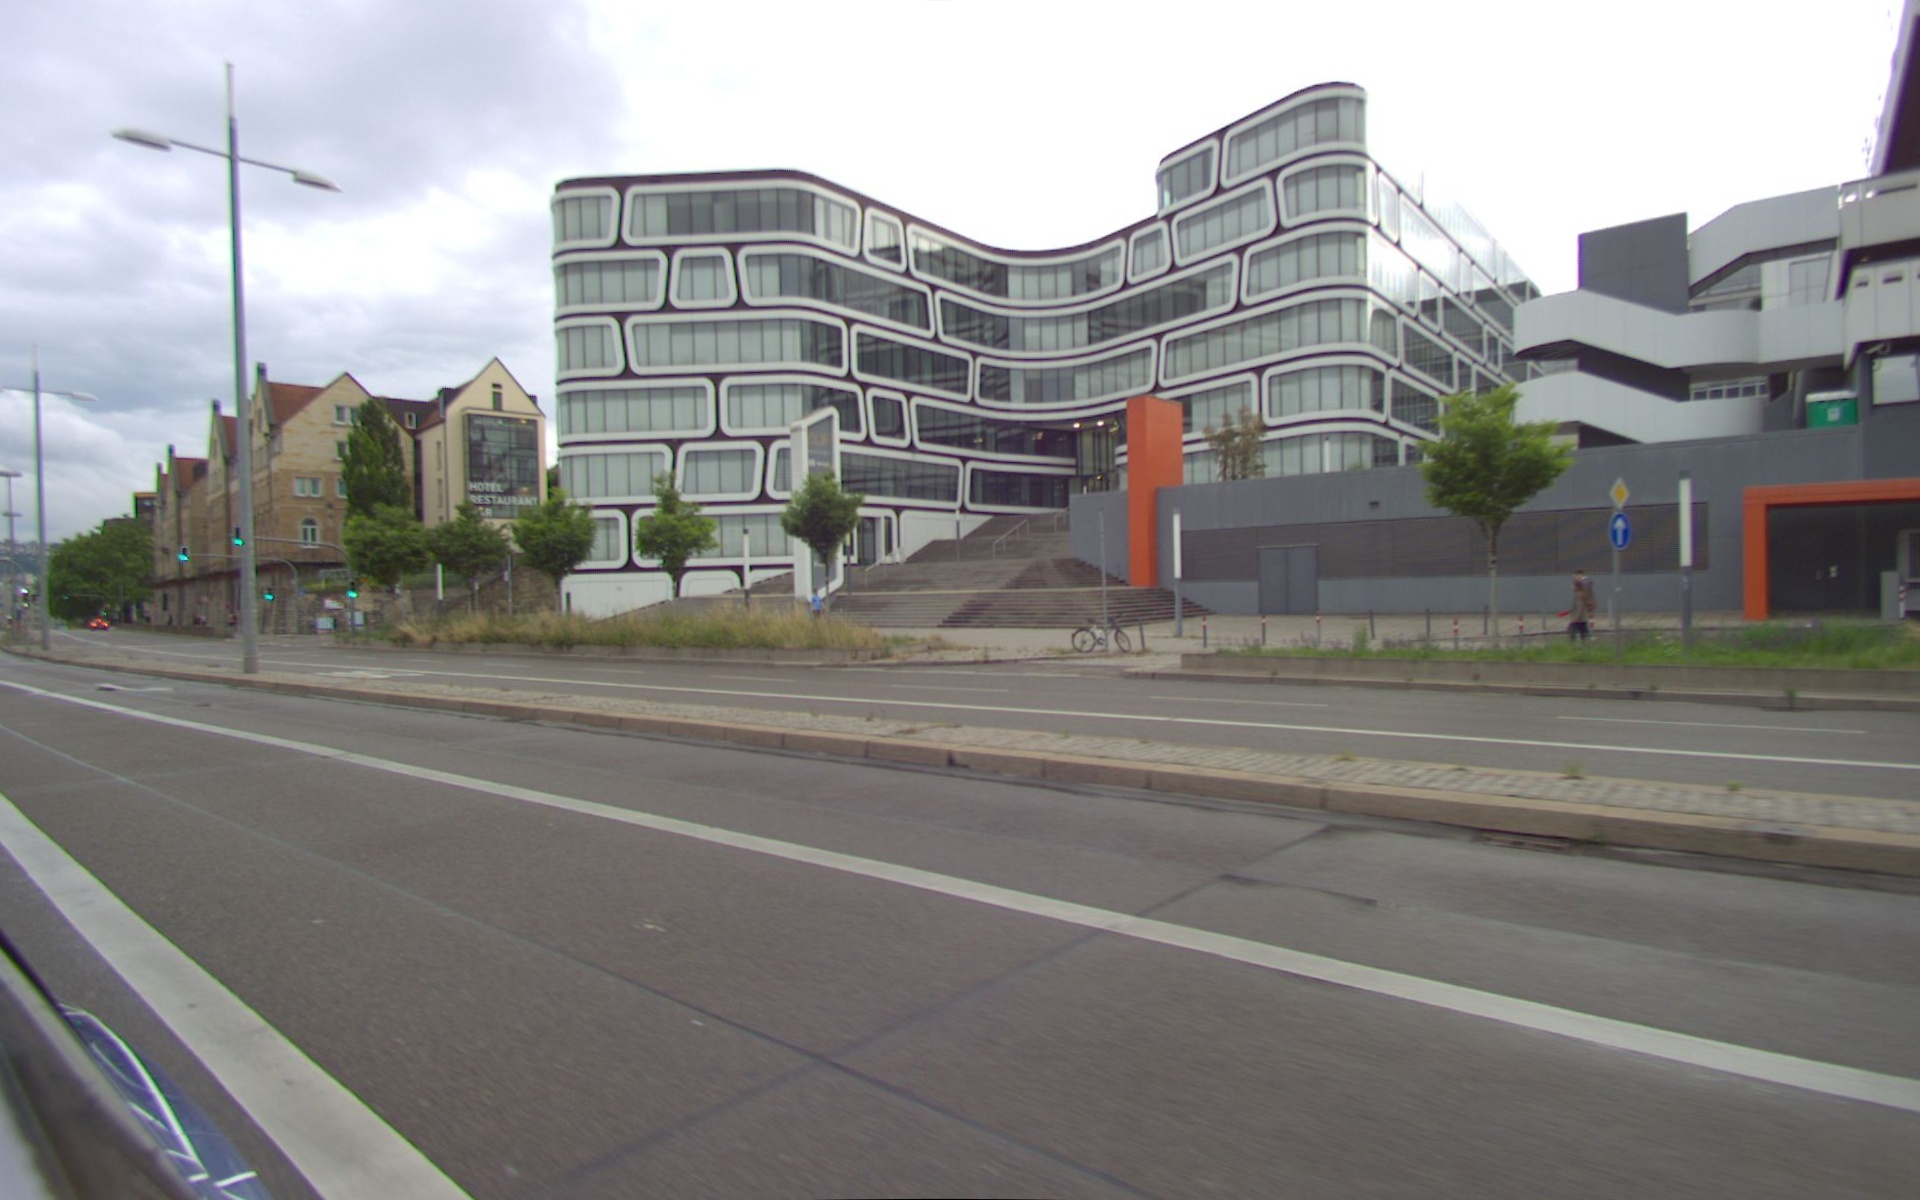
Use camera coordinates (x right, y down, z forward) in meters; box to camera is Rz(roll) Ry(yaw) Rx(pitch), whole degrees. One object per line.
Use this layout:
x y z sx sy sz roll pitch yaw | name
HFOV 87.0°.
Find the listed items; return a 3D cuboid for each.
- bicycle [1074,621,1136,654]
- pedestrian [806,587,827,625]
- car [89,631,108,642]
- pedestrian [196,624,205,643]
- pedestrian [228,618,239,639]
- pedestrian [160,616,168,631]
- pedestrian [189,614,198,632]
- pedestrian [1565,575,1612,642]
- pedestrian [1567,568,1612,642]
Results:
3.902 1.010 27.303 1.637 0.864 0.608 0 0 7 | bicycle
-6.177 0.254 43.609 0.640 1.623 0.604 0 0 43 | pedestrian
-118.147 4.979 138.803 1.691 1.475 4.003 -2 0 -44 | car
-72.214 3.198 96.219 0.668 1.792 0.684 -1 0 -44 | pedestrian
-62.460 2.427 87.009 0.668 1.792 0.684 -1 0 -44 | pedestrian
-94.320 2.769 119.880 0.668 1.792 0.684 -1 0 -44 | pedestrian
-79.209 2.403 104.600 0.668 1.792 0.684 -1 0 -44 | pedestrian
14.001 0.175 22.536 0.798 1.457 0.611 0 0 41 | pedestrian
14.516 0.115 23.336 0.798 1.670 0.611 0 0 41 | pedestrian
